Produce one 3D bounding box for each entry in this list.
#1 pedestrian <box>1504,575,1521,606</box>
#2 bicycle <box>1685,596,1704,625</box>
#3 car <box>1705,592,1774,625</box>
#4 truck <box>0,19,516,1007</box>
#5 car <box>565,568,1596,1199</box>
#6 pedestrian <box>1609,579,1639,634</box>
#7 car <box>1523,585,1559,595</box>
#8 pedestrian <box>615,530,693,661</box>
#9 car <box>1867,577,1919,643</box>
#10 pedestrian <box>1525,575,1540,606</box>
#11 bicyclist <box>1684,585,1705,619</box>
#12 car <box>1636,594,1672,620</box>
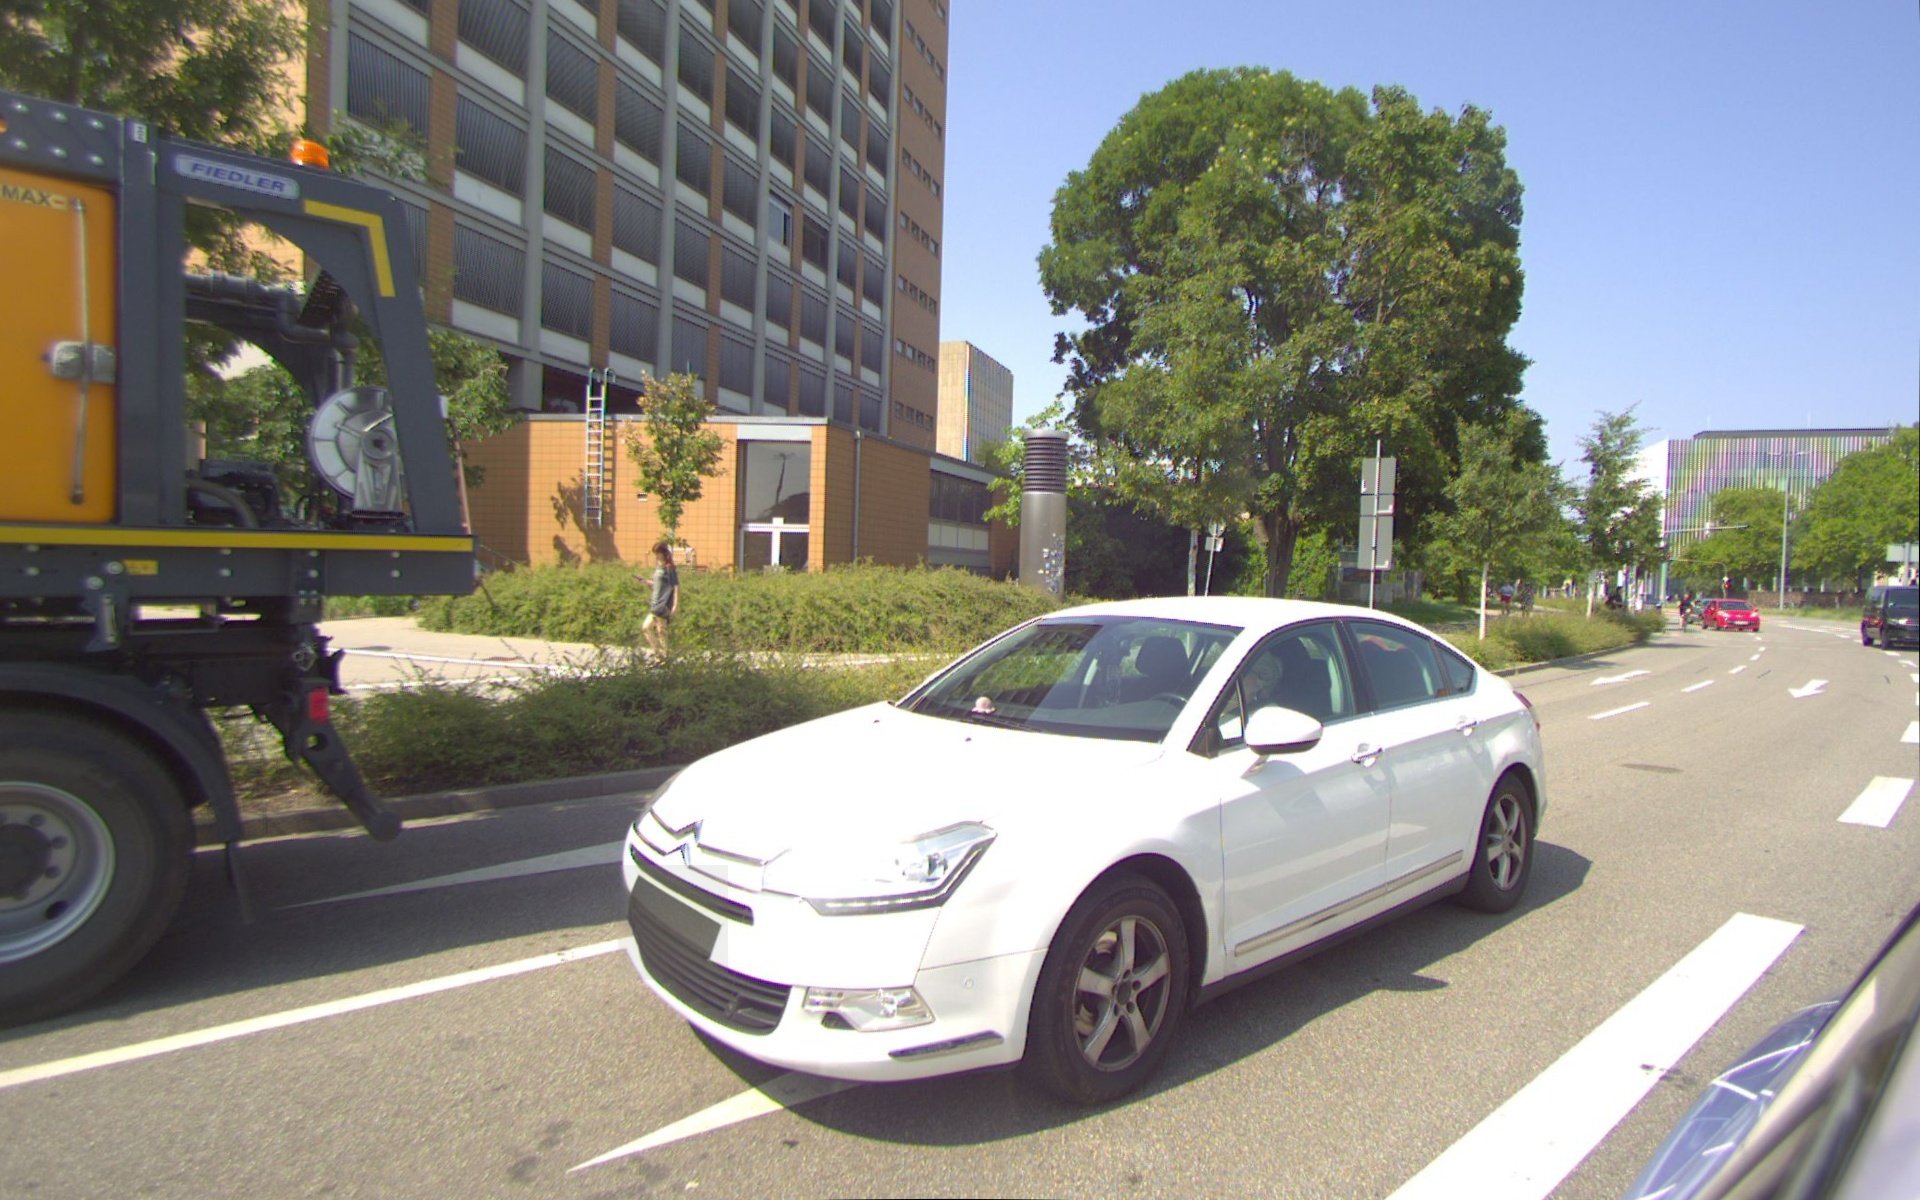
[{"bbox_3d":[23.982,-0.416,43.917,0.630,1.315,0.481,0,0,32],"label":"pedestrian"},{"bbox_3d":[31.565,0.432,43.502,0.591,1.183,2.207,2,2,35],"label":"bicycle"},{"bbox_3d":[35.714,0.349,46.459,1.633,1.449,3.784,1,1,24],"label":"car"},{"bbox_3d":[-5.265,-0.302,3.105,6.736,3.174,2.498,0,1,-39],"label":"truck"},{"bbox_3d":[0.895,0.642,4.372,4.527,1.446,1.773,0,2,-39],"label":"car"},{"bbox_3d":[23.843,0.226,36.359,0.818,1.926,0.622,2,1,37],"label":"pedestrian"},{"bbox_3d":[87.097,-1.519,151.741,4.354,1.405,1.765,0,0,13],"label":"car"},{"bbox_3d":[-4.181,-0.069,13.818,0.792,1.720,0.671,1,1,-41],"label":"pedestrian"},{"bbox_3d":[30.039,0.293,31.590,1.878,1.943,4.480,1,1,33],"label":"car"},{"bbox_3d":[24.599,-0.420,43.497,0.572,1.315,0.433,0,0,31],"label":"pedestrian"},{"bbox_3d":[31.574,0.093,43.497,0.676,1.417,1.036,2,1,36],"label":"bicyclist"},{"bbox_3d":[48.884,0.447,71.359,1.798,1.682,3.955,3,2,31],"label":"car"}]
